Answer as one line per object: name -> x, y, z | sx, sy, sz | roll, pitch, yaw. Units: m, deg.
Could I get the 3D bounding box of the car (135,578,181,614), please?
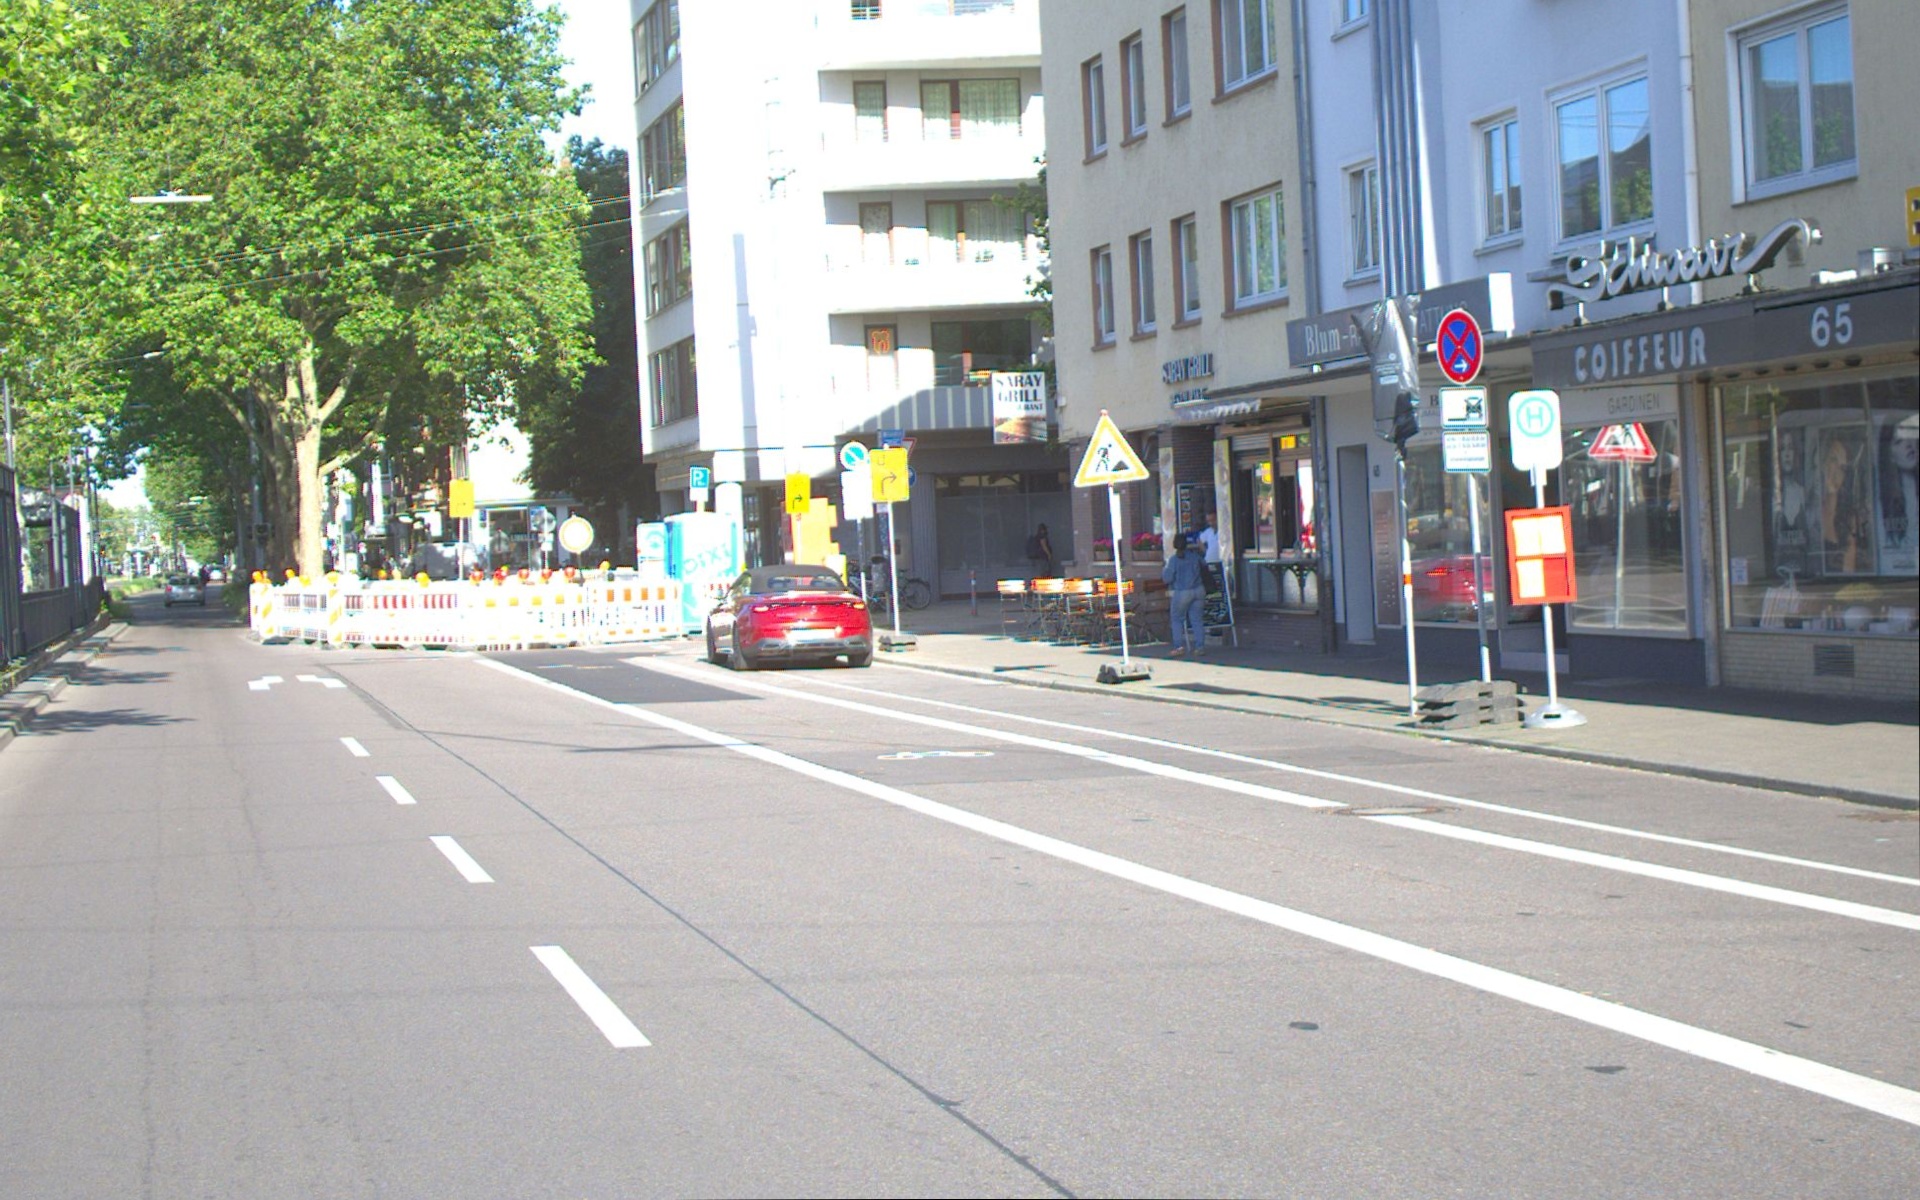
car -> -36.495, -0.191, 156.414 | 1.968, 1.504, 4.001 | -2, 1, -14

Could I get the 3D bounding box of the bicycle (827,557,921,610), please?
bicycle -> -1.853, -0.361, 74.180 | 1.943, 1.063, 0.583 | -2, 1, 5

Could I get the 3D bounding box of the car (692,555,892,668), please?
car -> -2.377, 0.133, 47.654 | 1.935, 1.425, 4.001 | -2, 1, -15

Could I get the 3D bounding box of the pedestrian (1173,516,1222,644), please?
pedestrian -> 3.095, -0.264, 44.832 | 0.470, 1.638, 0.508 | -2, 1, -10

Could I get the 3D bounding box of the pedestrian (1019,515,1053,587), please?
pedestrian -> 1.778, -1.151, 80.612 | 0.675, 1.636, 0.578 | -3, 2, -5

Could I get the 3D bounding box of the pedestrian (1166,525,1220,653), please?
pedestrian -> 2.872, -0.140, 42.386 | 0.506, 1.556, 0.466 | -2, 1, -9

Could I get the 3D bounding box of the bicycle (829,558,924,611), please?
bicycle -> -1.788, -0.337, 73.472 | 1.943, 1.063, 0.583 | -2, 1, 5

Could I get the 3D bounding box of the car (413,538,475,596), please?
car -> -18.677, -1.210, 124.477 | 1.993, 2.007, 4.001 | -2, 1, -6
